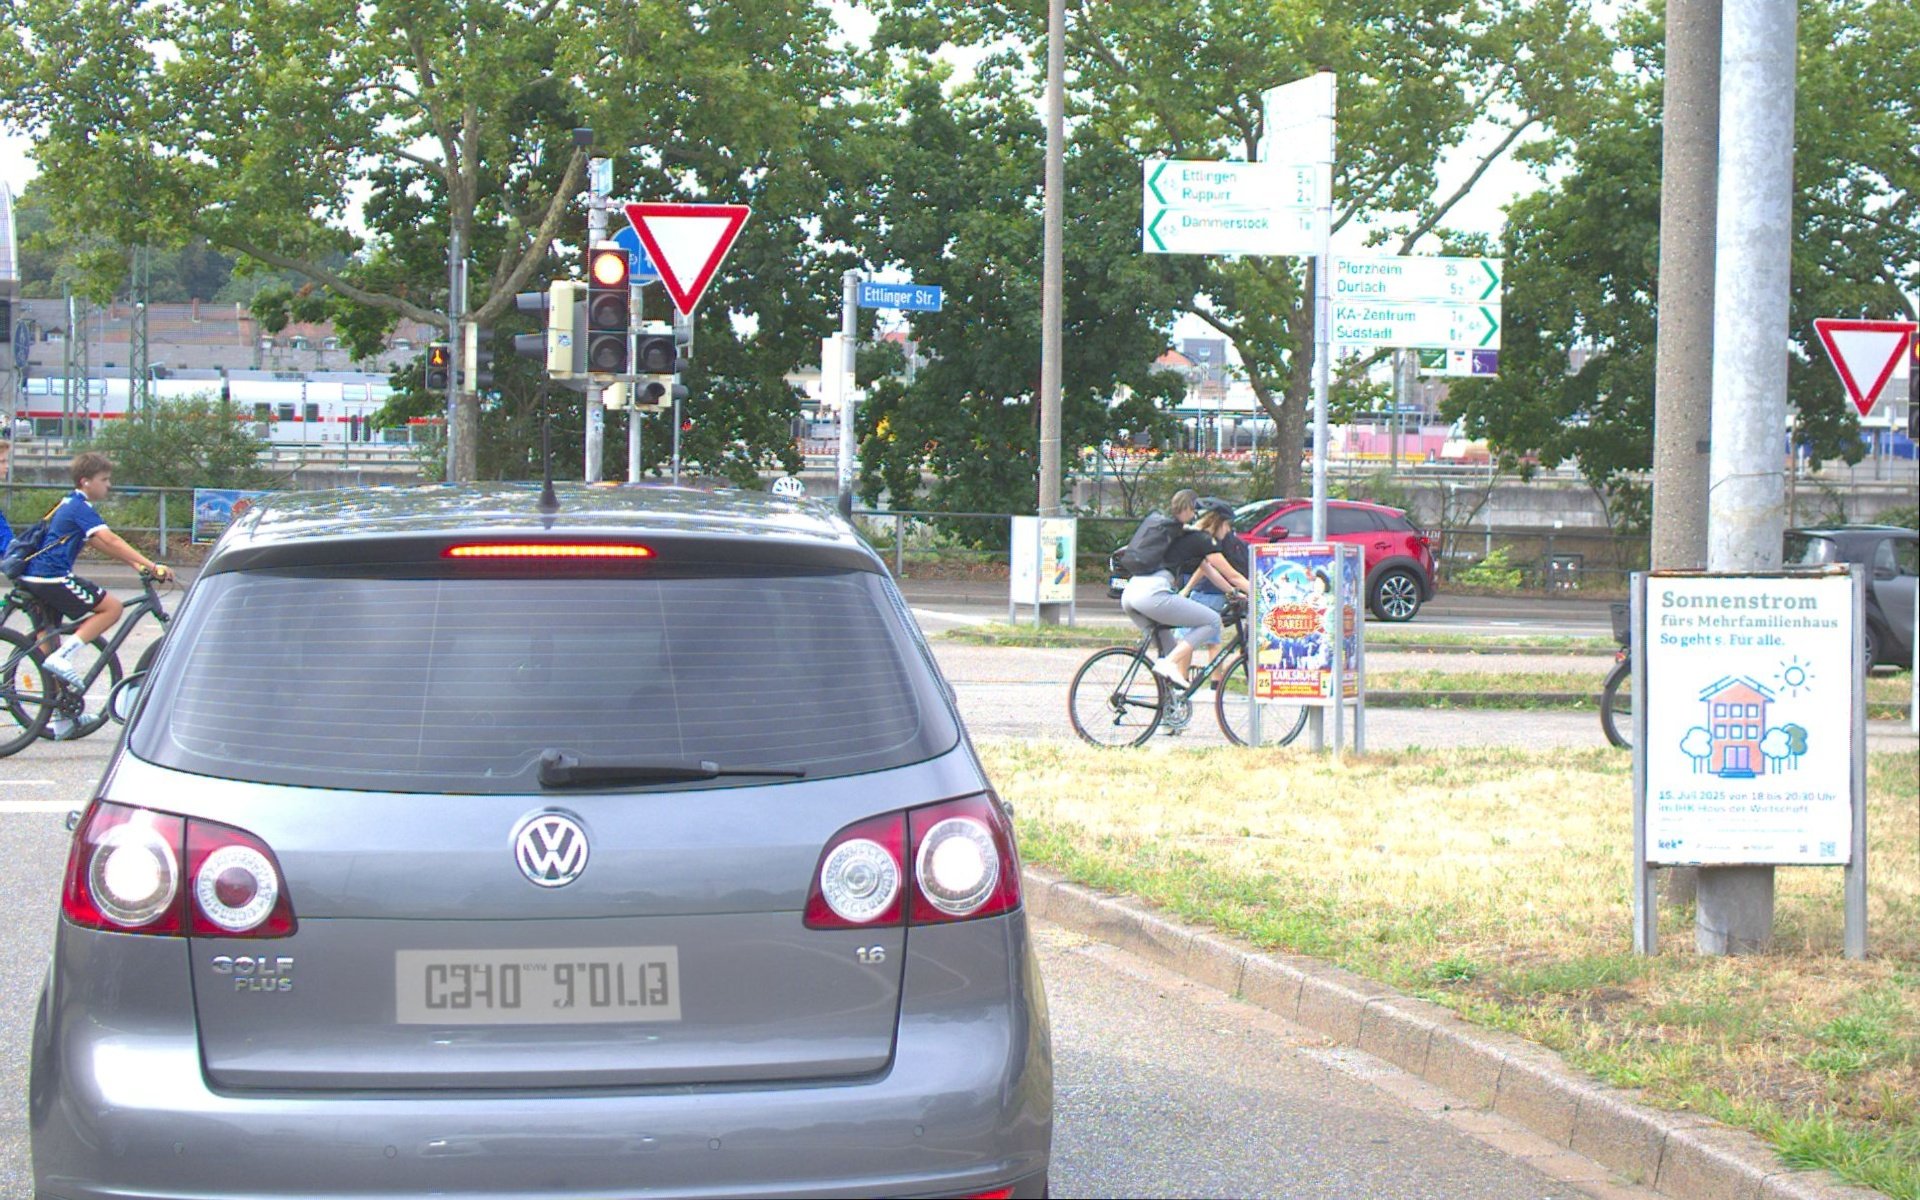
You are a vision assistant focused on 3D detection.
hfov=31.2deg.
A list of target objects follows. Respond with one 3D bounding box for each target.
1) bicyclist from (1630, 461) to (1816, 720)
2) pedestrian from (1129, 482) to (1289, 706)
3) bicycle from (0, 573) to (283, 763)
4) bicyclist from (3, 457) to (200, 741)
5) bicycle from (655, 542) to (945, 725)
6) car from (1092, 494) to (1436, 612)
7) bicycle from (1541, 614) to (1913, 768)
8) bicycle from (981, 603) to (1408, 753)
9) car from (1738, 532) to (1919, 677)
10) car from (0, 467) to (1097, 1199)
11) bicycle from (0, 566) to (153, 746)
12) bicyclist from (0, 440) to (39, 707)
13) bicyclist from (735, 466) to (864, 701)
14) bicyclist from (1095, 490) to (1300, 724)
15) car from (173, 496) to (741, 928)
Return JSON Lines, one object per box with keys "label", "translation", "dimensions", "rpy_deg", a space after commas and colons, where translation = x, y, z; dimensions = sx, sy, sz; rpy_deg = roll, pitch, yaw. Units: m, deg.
{"label": "bicyclist", "translation": [4.959, -0.072, 22.386], "dimensions": [0.880, 1.650, 0.812], "rpy_deg": [0, 2, -15]}
{"label": "pedestrian", "translation": [1.973, -0.059, 27.168], "dimensions": [1.048, 1.704, 0.853], "rpy_deg": [2, 2, 17]}
{"label": "bicycle", "translation": [-4.759, 0.370, 19.080], "dimensions": [1.900, 1.010, 0.629], "rpy_deg": [0, 2, -17]}
{"label": "bicyclist", "translation": [-4.763, -0.014, 19.050], "dimensions": [1.016, 1.534, 0.629], "rpy_deg": [0, 2, -17]}
{"label": "bicycle", "translation": [-1.101, 0.226, 23.557], "dimensions": [1.900, 1.206, 0.643], "rpy_deg": [1, 2, -10]}
{"label": "car", "translation": [3.833, -0.593, 43.431], "dimensions": [3.950, 1.443, 1.703], "rpy_deg": [0, 2, -20]}
{"label": "bicycle", "translation": [4.997, 0.583, 22.424], "dimensions": [2.227, 0.949, 0.812], "rpy_deg": [0, 2, -15]}
{"label": "bicycle", "translation": [1.478, 0.488, 21.664], "dimensions": [2.583, 0.887, 0.705], "rpy_deg": [0, 2, -16]}
{"label": "car", "translation": [9.586, 0.036, 35.298], "dimensions": [2.710, 1.417, 1.500], "rpy_deg": [0, 2, -21]}
{"label": "car", "translation": [-0.954, 0.529, 7.238], "dimensions": [1.740, 1.541, 4.083], "rpy_deg": [1, 1, -8]}
{"label": "bicycle", "translation": [-5.684, 0.316, 19.907], "dimensions": [1.900, 1.010, 0.629], "rpy_deg": [0, 2, -19]}
{"label": "bicyclist", "translation": [-5.787, -0.164, 19.875], "dimensions": [0.838, 1.524, 0.629], "rpy_deg": [0, 2, -19]}
{"label": "bicyclist", "translation": [-1.102, -0.123, 23.529], "dimensions": [0.779, 1.575, 0.655], "rpy_deg": [1, 2, -10]}
{"label": "bicyclist", "translation": [1.489, 0.032, 21.637], "dimensions": [1.113, 1.431, 0.648], "rpy_deg": [0, 2, -16]}
{"label": "car", "translation": [-2.185, 0.335, 13.954], "dimensions": [1.740, 1.477, 4.083], "rpy_deg": [0, 1, -16]}
